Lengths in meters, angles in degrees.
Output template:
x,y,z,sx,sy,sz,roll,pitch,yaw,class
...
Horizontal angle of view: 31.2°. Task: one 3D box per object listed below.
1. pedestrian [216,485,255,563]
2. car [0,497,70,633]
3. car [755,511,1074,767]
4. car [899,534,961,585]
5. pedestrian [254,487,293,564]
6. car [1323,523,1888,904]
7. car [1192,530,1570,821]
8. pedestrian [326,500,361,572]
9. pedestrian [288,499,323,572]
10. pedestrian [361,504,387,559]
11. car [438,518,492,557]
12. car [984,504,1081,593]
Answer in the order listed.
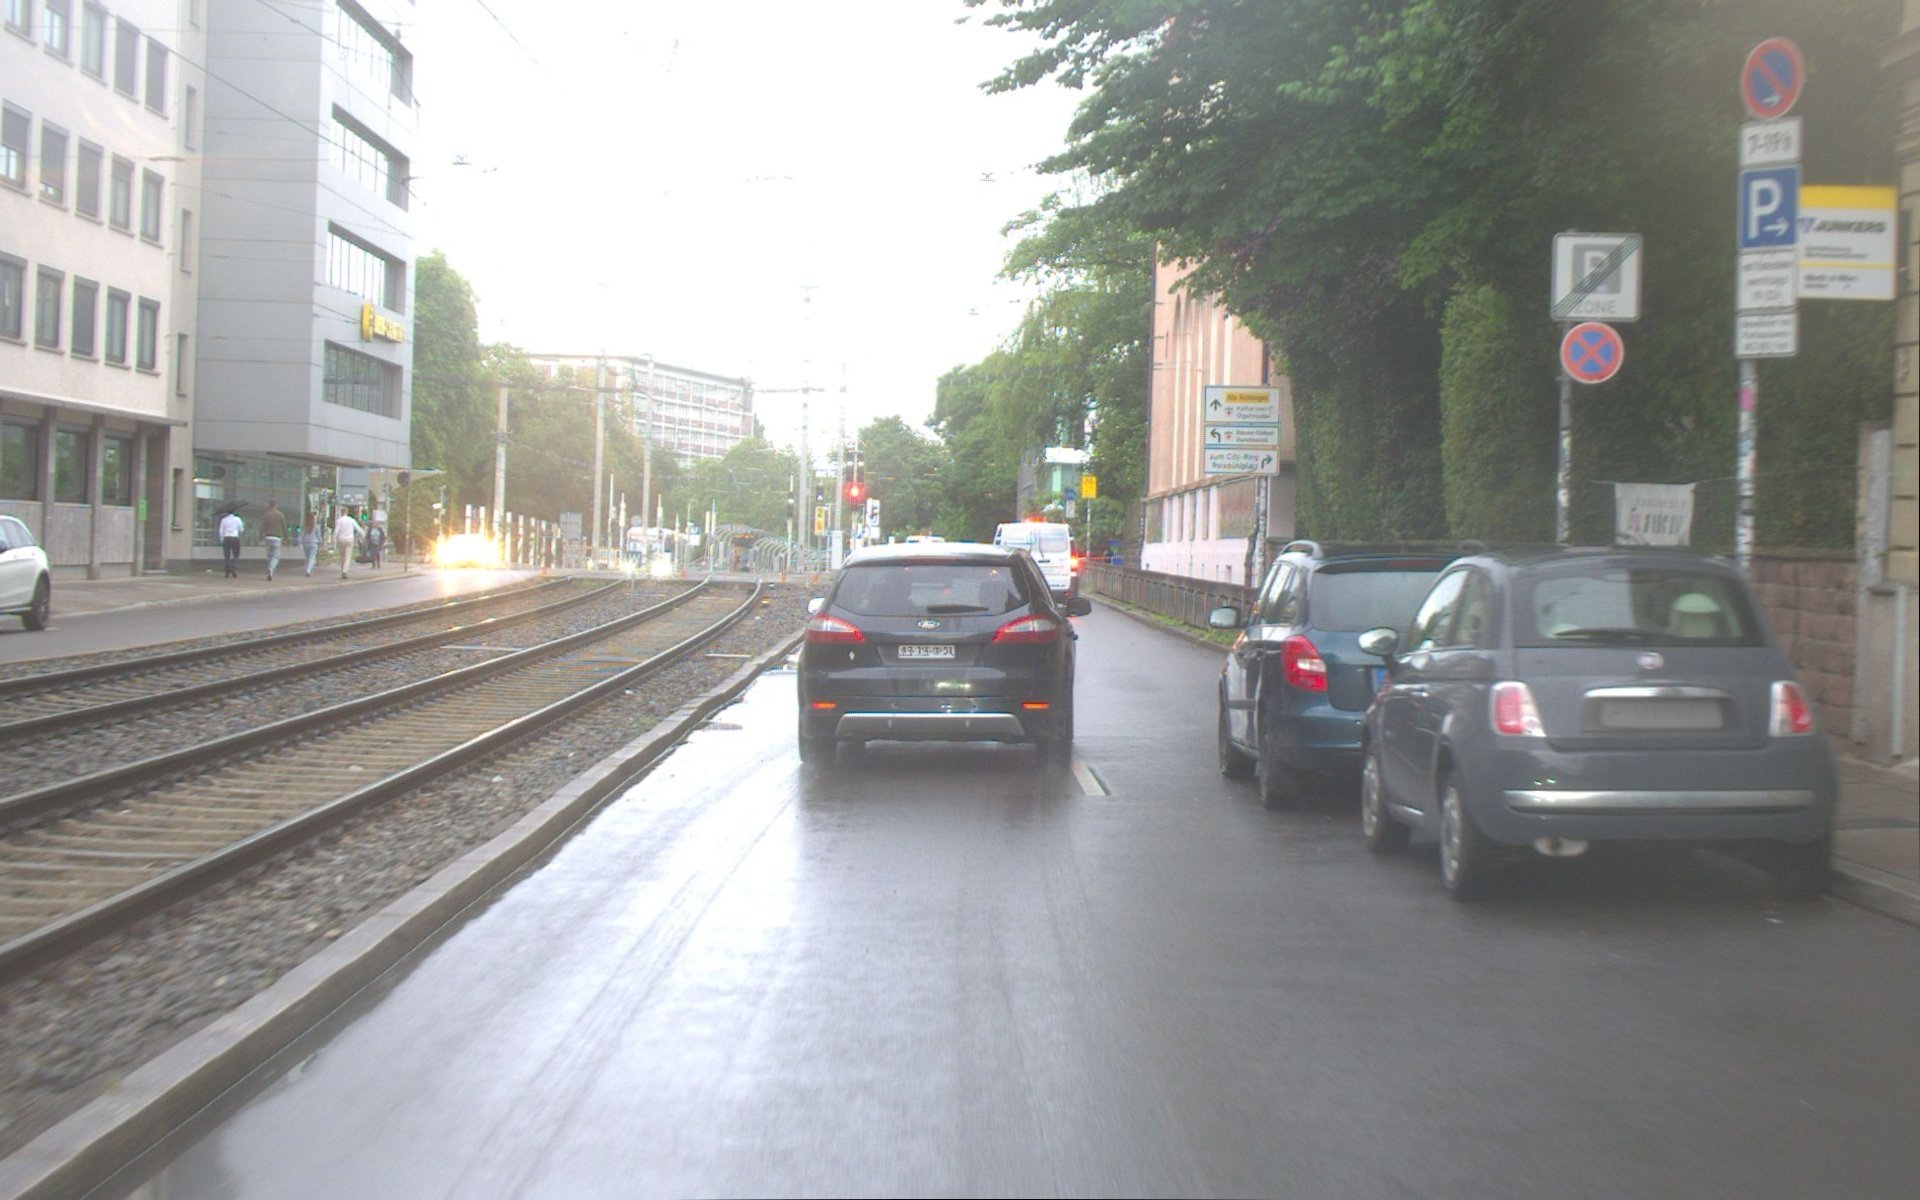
x,y,z,sx,sy,sz,roll,pitch,yaw,class
-17.610,-1.847,83.560,0.744,1.847,0.839,1,-1,-1,pedestrian
-13.866,-0.517,47.158,1.993,1.833,5.071,2,1,-1,car
-0.284,0.253,23.980,1.993,1.588,4.271,1,0,0,car
-0.981,-1.347,114.872,1.993,1.588,4.271,1,0,0,car
-16.700,-1.802,83.609,0.744,1.847,0.839,1,-1,-1,pedestrian
2.818,0.417,15.884,1.738,1.484,4.000,2,1,-1,car
2.405,0.367,20.563,1.642,1.510,4.039,2,1,-1,car
-16.136,-1.663,90.006,0.744,1.847,0.839,1,-1,-1,pedestrian
-17.091,-1.681,89.786,0.744,1.847,0.839,1,-1,-1,pedestrian
-20.188,-2.364,118.404,0.744,1.847,0.839,1,-1,-1,pedestrian
-19.281,-2.451,133.829,1.993,1.437,4.001,2,1,-8,car
1.539,-1.093,74.440,1.993,1.810,4.271,1,0,0,car
